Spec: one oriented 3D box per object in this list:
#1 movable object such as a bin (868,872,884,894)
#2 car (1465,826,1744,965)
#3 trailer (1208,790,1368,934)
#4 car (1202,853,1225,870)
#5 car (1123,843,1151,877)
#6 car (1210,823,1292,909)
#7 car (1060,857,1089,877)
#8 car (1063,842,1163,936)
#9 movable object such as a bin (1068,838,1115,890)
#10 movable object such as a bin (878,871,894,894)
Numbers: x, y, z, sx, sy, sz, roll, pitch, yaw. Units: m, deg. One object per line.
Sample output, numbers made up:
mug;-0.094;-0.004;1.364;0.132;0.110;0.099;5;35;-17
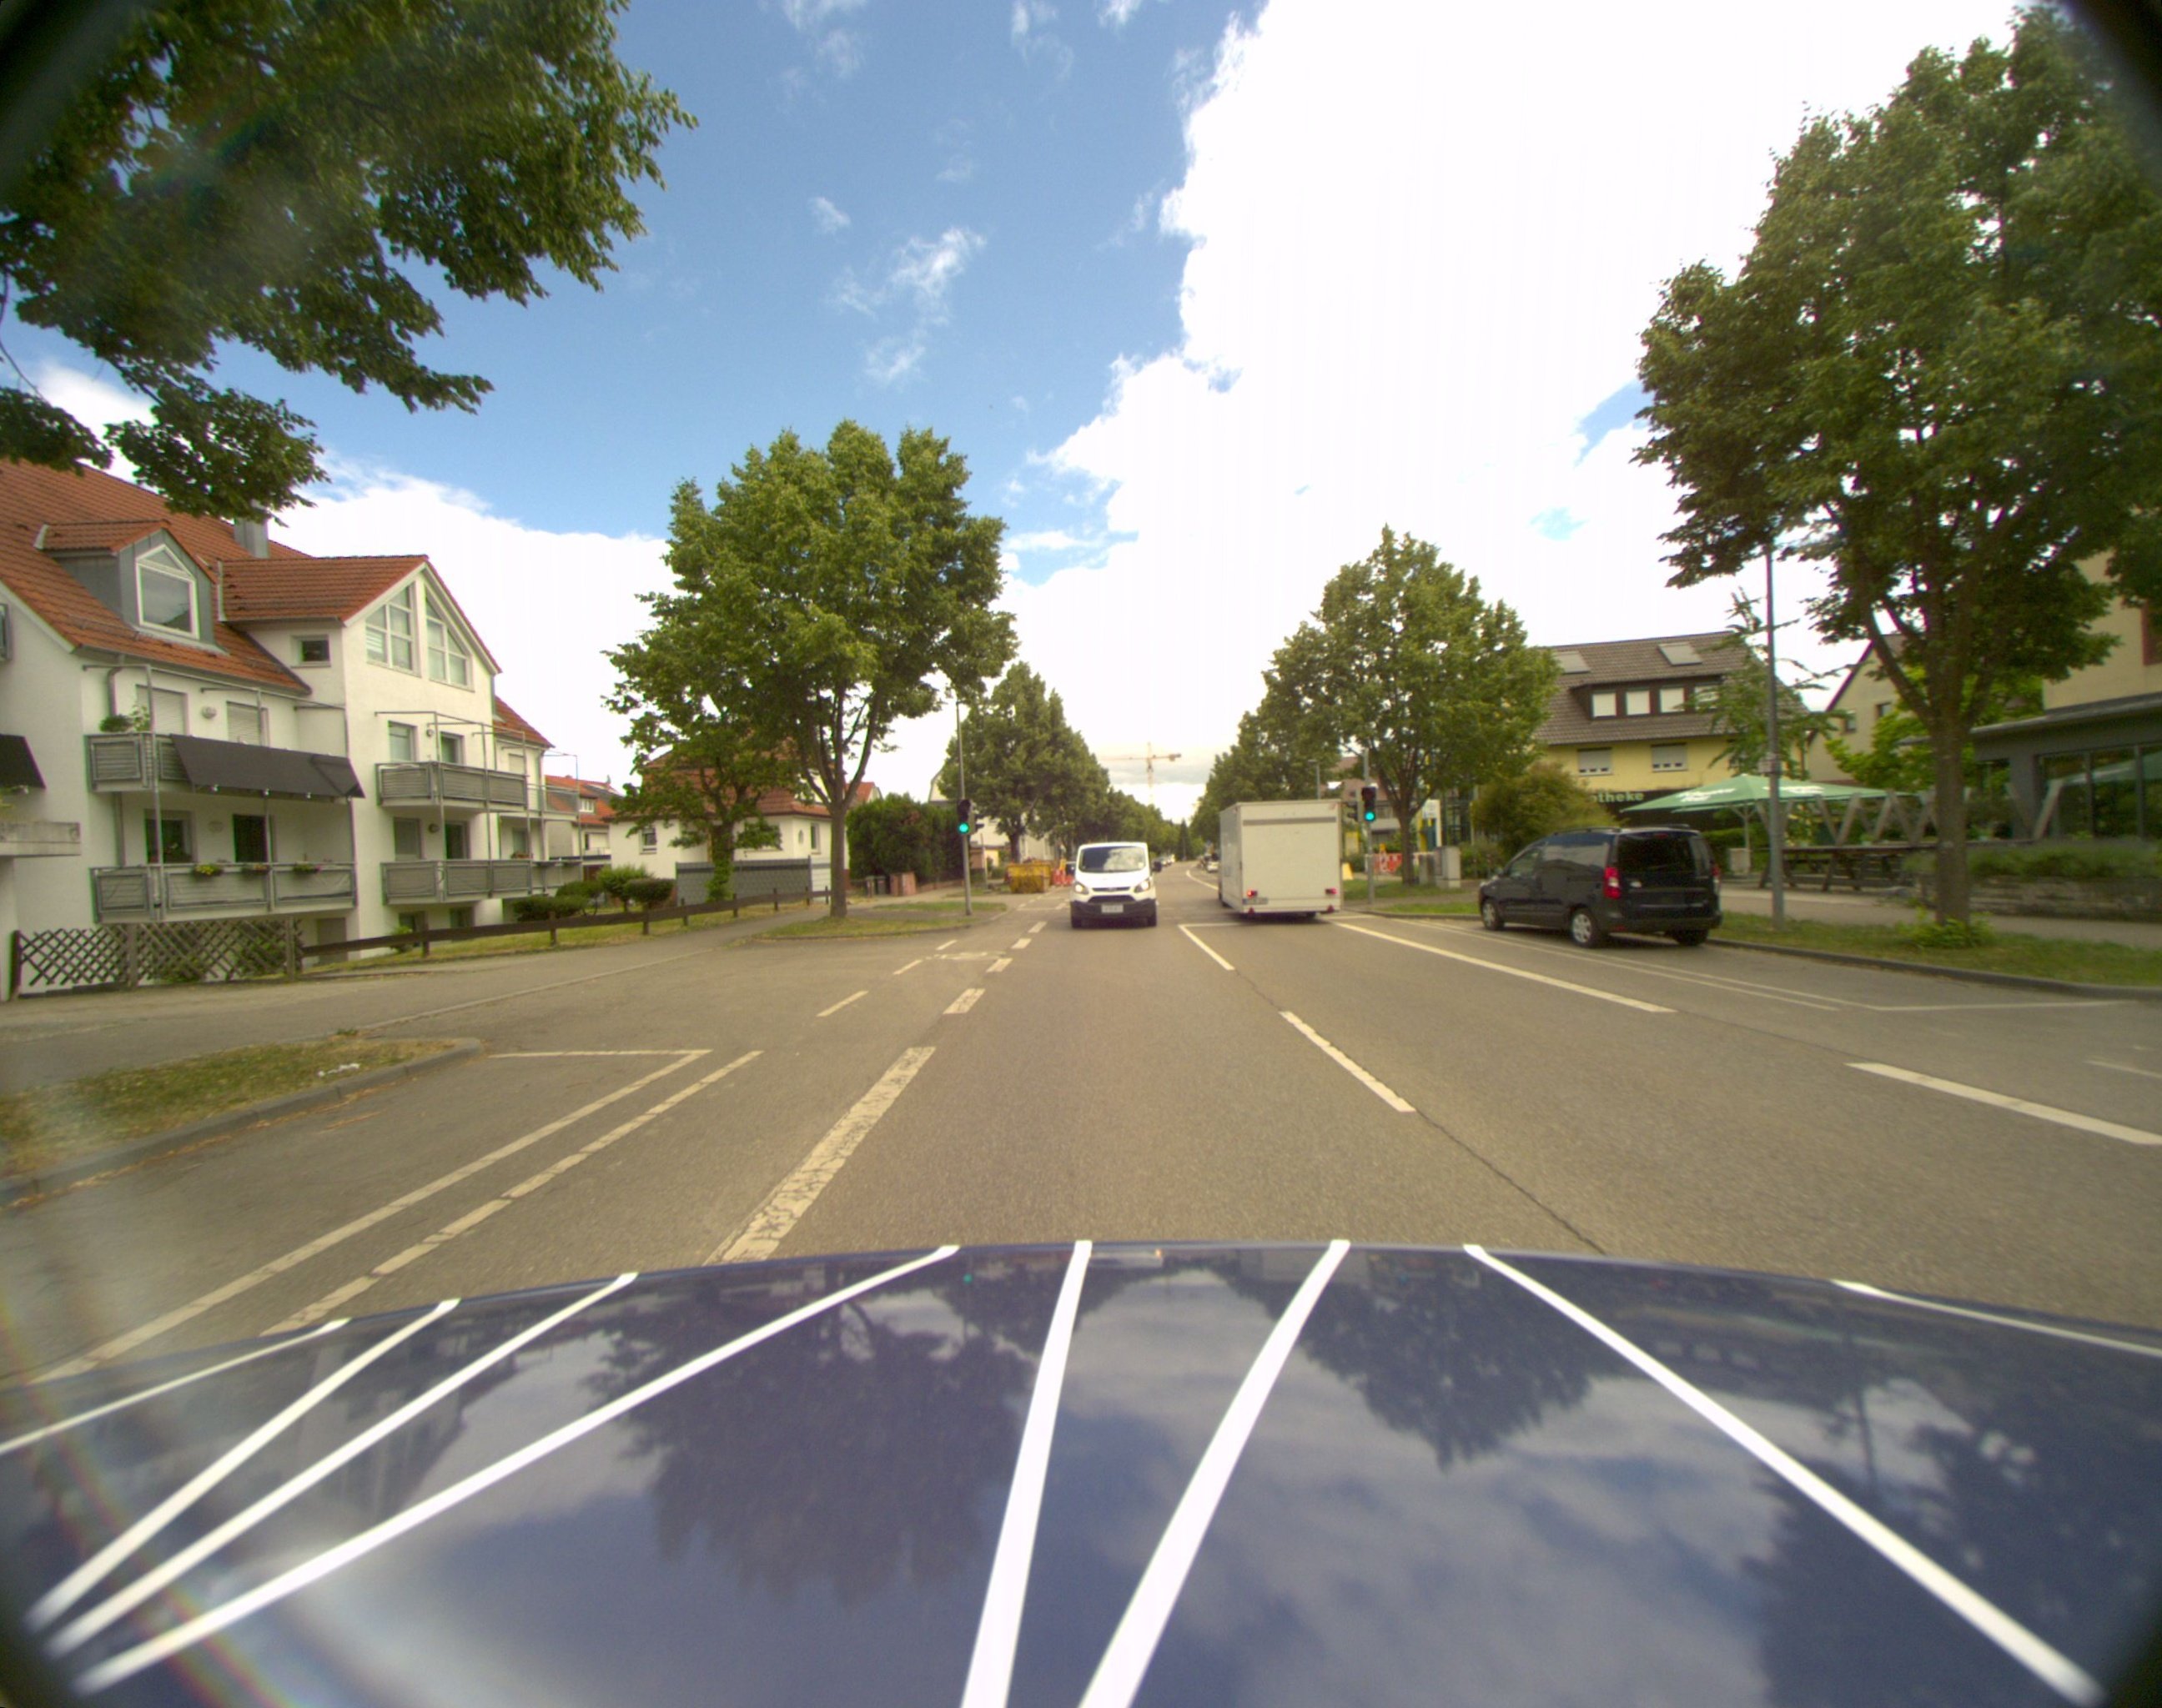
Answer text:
movable object such as a bin;-9.987;1.410;37.027;0.540;1.052;0.519;-2;0;16
car;8.337;0.578;12.694;1.711;1.863;4.399;-2;0;2
trailer;4.796;0.178;18.957;2.640;2.862;6.874;-2;0;6
car;12.720;0.714;72.730;1.889;1.565;4.004;-2;0;12
car;4.543;0.455;61.112;1.997;2.584;4.002;-3;0;7
car;5.544;0.361;25.515;2.063;2.465;6.317;-2;0;8
car;-0.510;1.063;63.088;1.821;1.575;4.050;-2;0;7
car;0.981;0.758;19.270;1.997;2.002;5.321;-2;0;8
movable object such as a bin;0.626;0.506;40.537;1.997;2.550;4.549;-2;0;7
movable object such as a bin;-9.472;1.382;36.878;0.499;1.038;0.520;-2;0;15
